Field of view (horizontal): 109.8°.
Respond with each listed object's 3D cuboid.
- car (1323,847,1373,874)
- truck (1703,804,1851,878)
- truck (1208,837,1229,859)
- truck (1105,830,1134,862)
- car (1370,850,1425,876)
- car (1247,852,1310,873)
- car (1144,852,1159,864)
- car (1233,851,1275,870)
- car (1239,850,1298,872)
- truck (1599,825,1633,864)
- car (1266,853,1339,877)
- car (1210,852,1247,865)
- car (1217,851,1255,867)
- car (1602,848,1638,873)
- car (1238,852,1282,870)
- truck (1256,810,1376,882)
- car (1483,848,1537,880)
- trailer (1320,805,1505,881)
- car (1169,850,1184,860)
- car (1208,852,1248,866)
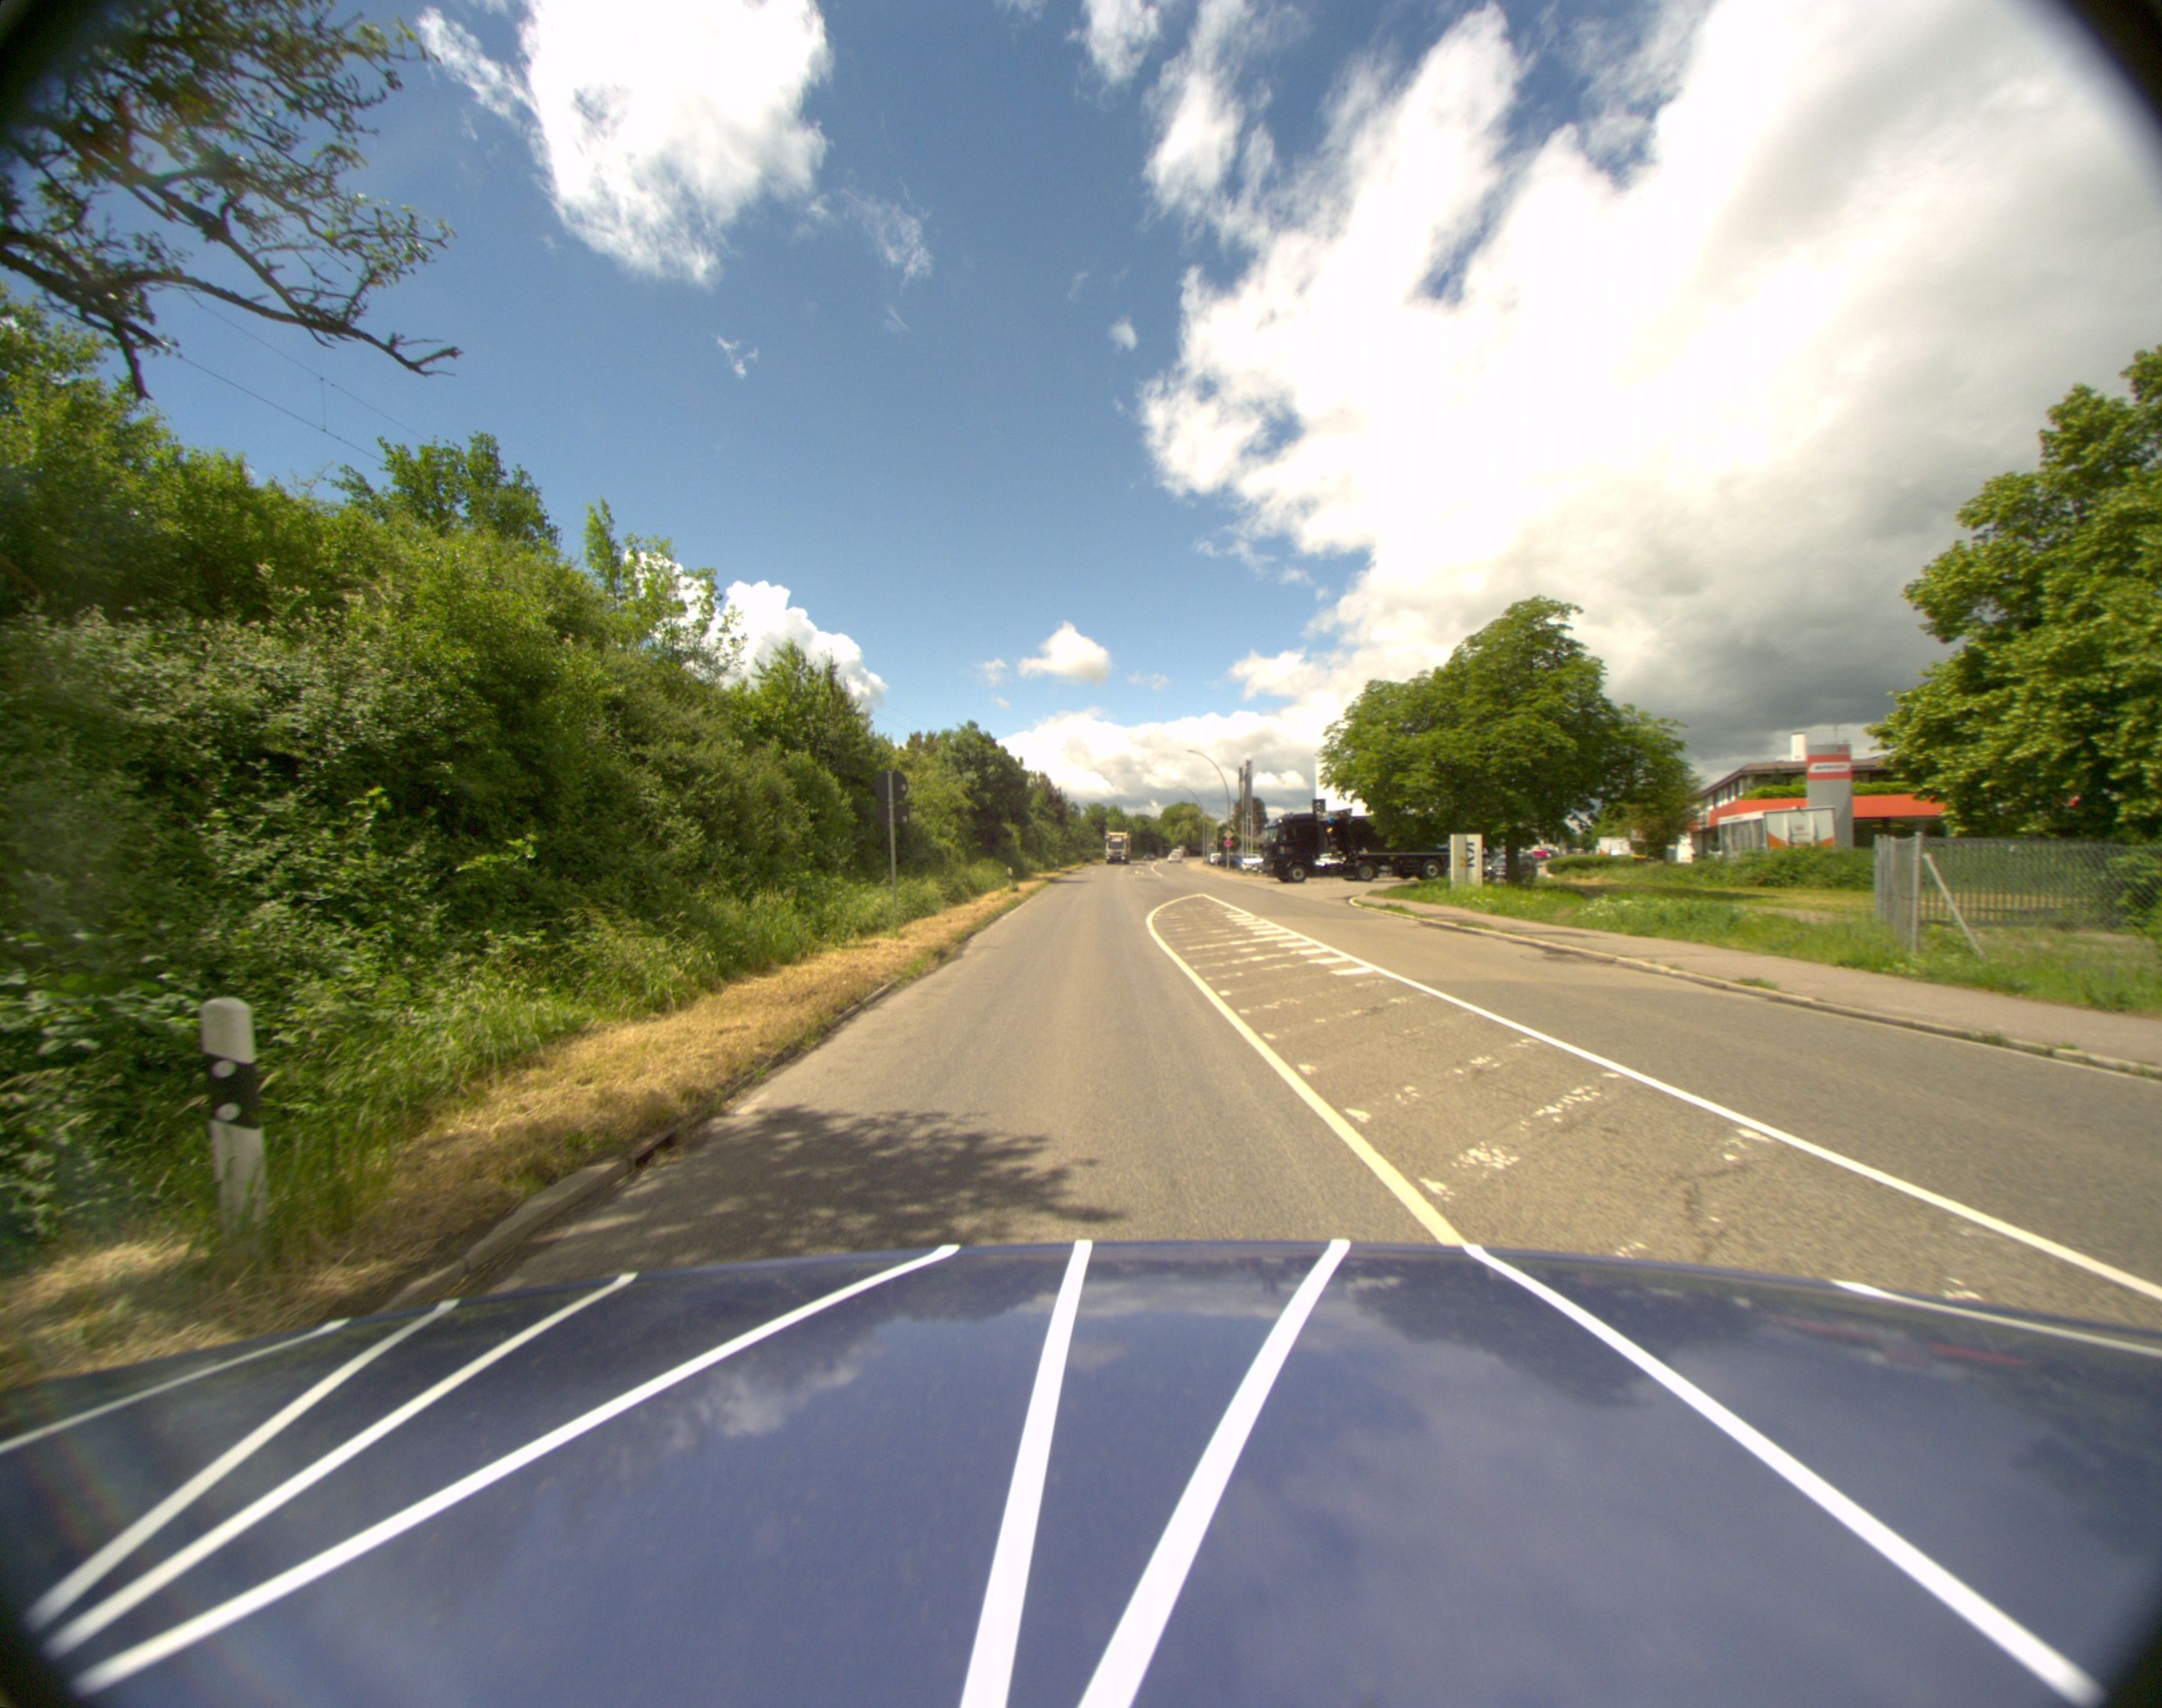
[{"bbox_3d":[17.443,0.417,49.906,1.935,1.711,4.601,0,0,4],"label":"car"},{"bbox_3d":[32.507,-0.556,35.969,2.658,3.031,8.606,1,0,25],"label":"truck"},{"bbox_3d":[30.030,-1.405,165.694,2.976,4.634,8.191,1,1,21],"label":"truck"},{"bbox_3d":[4.813,-1.025,93.928,2.903,3.746,9.639,0,1,7],"label":"truck"},{"bbox_3d":[20.445,0.533,49.287,1.802,1.592,4.765,1,0,3],"label":"car"},{"bbox_3d":[14.688,0.622,56.480,4.334,1.457,1.793,0,-1,-25],"label":"car"},{"bbox_3d":[11.882,0.664,127.541,1.952,2.002,4.004,1,1,12],"label":"car"},{"bbox_3d":[16.024,0.547,70.265,1.889,1.659,4.580,-1,0,40],"label":"car"},{"bbox_3d":[14.826,0.551,60.064,4.305,1.668,1.932,0,1,-28],"label":"car"},{"bbox_3d":[49.596,-0.880,70.404,2.440,3.403,7.837,1,1,35],"label":"truck"},{"bbox_3d":[15.838,0.743,54.376,4.746,1.596,1.984,0,2,-18],"label":"car"},{"bbox_3d":[17.775,0.534,91.653,3.943,1.485,1.808,1,1,45],"label":"car"},{"bbox_3d":[16.744,0.592,82.265,1.806,1.615,4.344,-3,1,-22],"label":"car"},{"bbox_3d":[40.196,0.460,56.726,1.828,1.835,4.684,1,1,31],"label":"car"},{"bbox_3d":[15.694,0.607,66.503,1.868,1.557,4.531,-1,-1,40],"label":"car"},{"bbox_3d":[12.829,-0.419,41.793,5.569,3.802,2.983,0,1,-2],"label":"truck"},{"bbox_3d":[26.275,0.546,46.482,1.952,1.865,4.126,1,1,43],"label":"car"},{"bbox_3d":[18.666,-0.590,42.937,9.471,4.059,3.315,0,1,-13],"label":"trailer"},{"bbox_3d":[14.508,0.174,114.854,1.997,1.442,4.430,2,1,10],"label":"car"},{"bbox_3d":[20.012,0.673,103.614,4.944,1.827,1.897,1,0,42],"label":"car"}]
